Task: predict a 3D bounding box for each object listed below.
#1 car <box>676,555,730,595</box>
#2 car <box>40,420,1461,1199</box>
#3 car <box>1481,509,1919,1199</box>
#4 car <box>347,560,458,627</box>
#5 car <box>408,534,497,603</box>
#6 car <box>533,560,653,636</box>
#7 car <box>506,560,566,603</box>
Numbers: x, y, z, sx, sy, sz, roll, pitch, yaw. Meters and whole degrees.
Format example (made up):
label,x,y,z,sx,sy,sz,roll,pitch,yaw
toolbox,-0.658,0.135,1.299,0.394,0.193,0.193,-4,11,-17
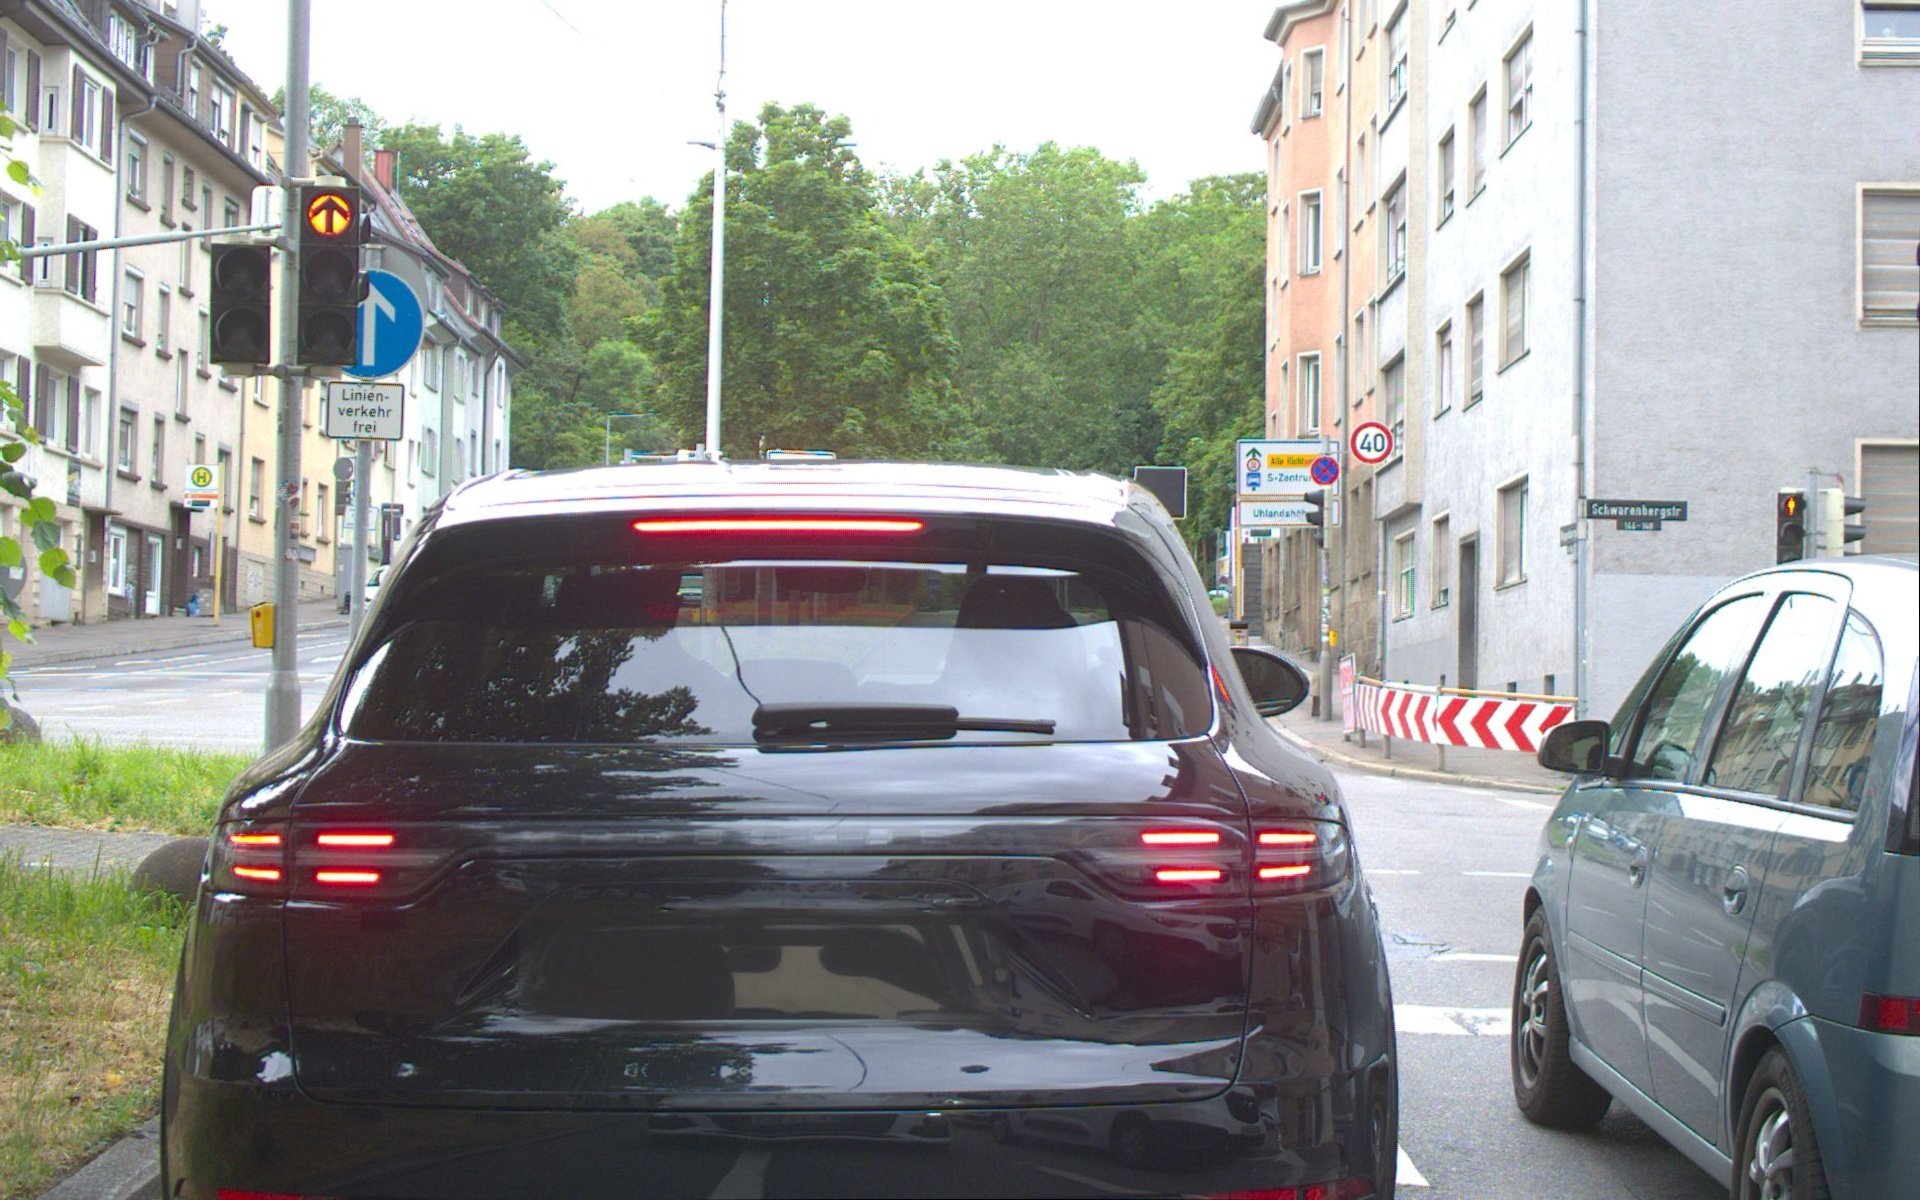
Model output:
label,x,y,z,sx,sy,sz,roll,pitch,yaw
car,-9.951,-0.946,133.248,1.619,1.475,3.823,1,-1,3
car,-0.311,0.567,6.737,1.955,1.669,4.000,0,1,-1
car,2.356,0.669,7.878,1.628,1.592,3.669,4,1,-1
car,-12.844,-0.168,79.436,1.844,1.481,3.898,1,1,1
car,-15.435,-0.963,104.687,2.016,2.038,4.667,1,1,0
car,-6.990,-0.060,65.844,1.862,1.383,4.094,1,1,0
car,-15.385,-0.679,124.882,1.689,1.533,3.814,1,1,0
